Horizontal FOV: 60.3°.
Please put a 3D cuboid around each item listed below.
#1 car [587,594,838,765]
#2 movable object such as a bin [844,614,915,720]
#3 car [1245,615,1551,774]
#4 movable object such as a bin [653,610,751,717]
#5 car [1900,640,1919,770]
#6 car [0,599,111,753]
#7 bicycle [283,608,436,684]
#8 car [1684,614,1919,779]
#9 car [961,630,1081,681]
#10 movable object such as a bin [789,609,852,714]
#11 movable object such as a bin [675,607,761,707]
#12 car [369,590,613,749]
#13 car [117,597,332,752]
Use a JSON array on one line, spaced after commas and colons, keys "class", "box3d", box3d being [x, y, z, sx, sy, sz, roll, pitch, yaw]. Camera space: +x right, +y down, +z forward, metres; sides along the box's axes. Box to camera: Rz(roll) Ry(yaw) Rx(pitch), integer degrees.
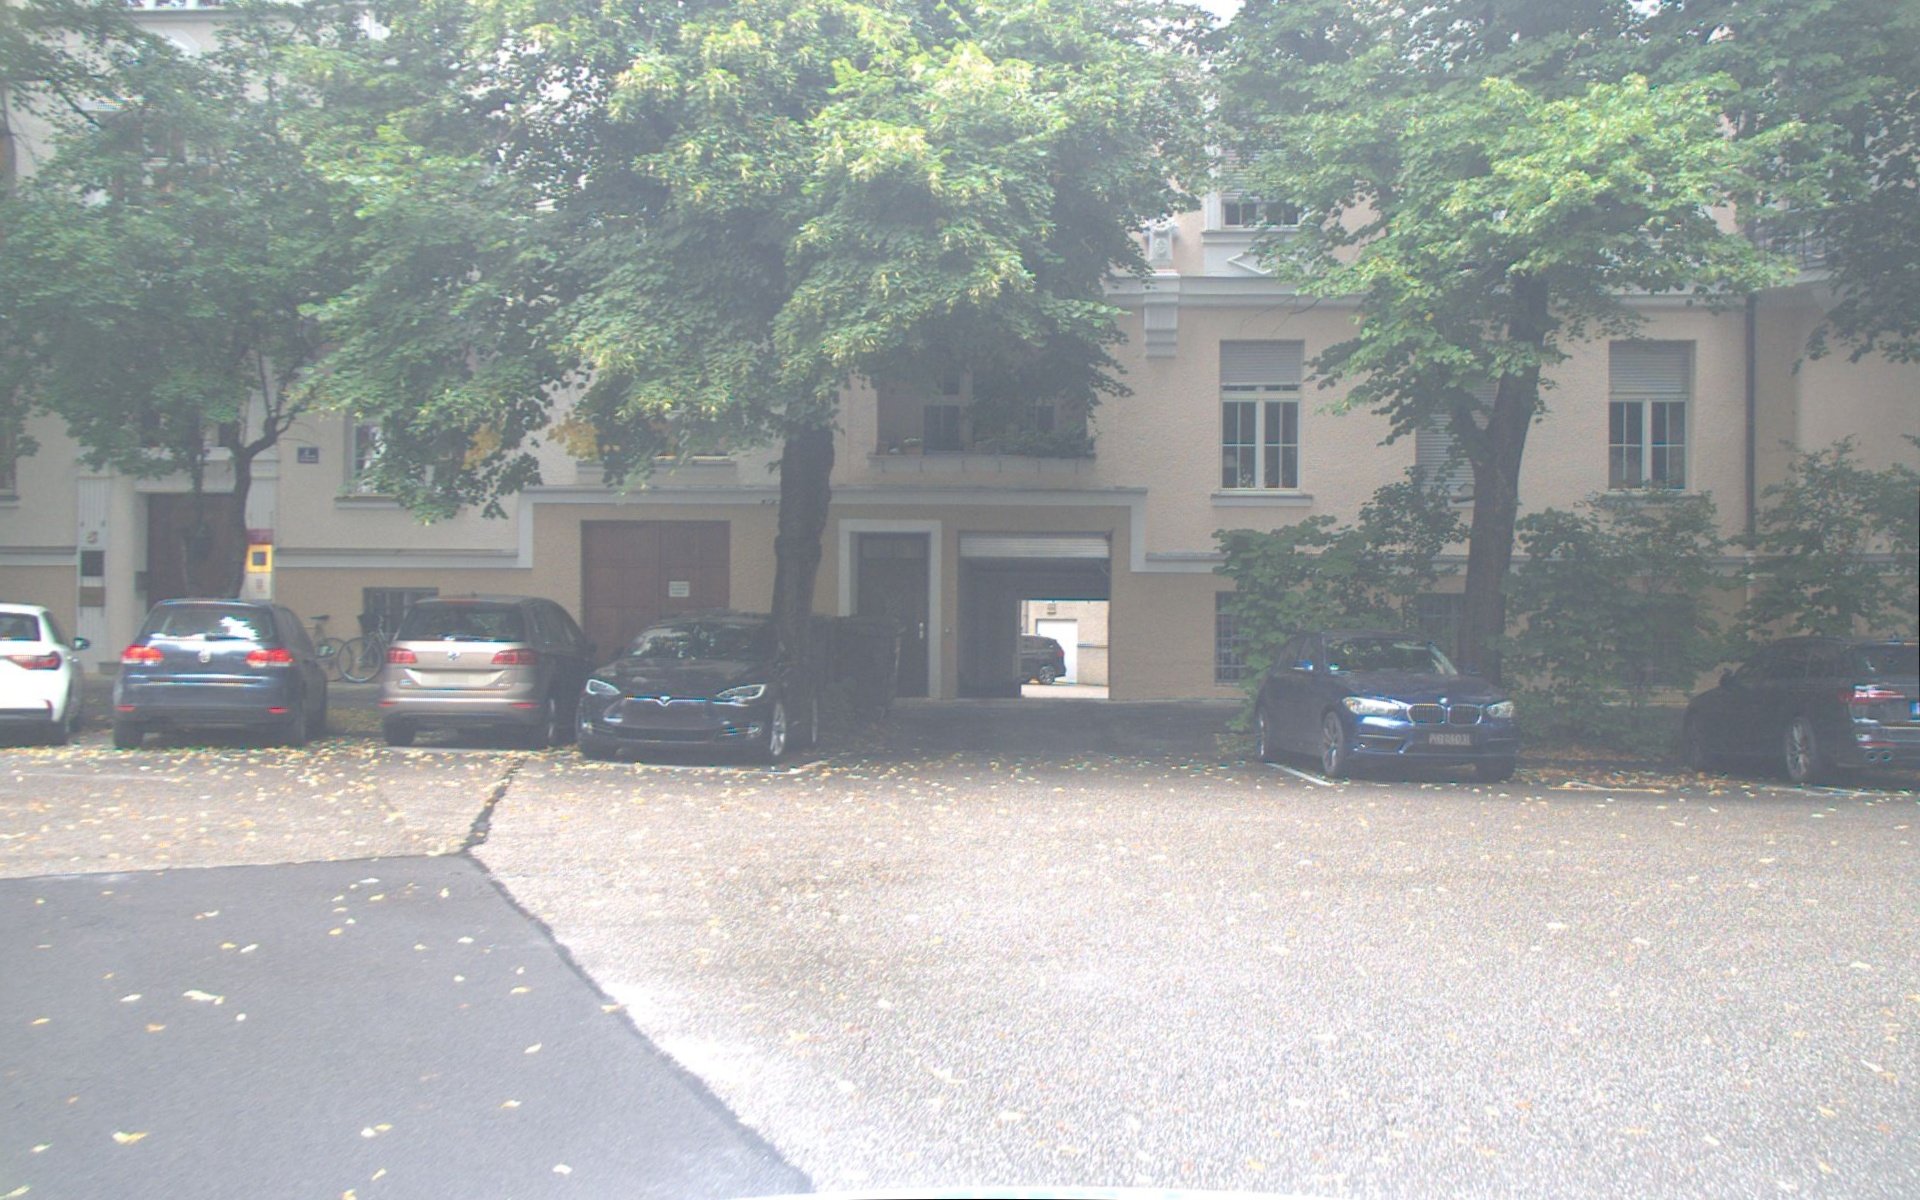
[{"class": "car", "box3d": [-2.408, 0.809, 17.153, 1.668, 1.493, 4.289, 2, -2, 3]}, {"class": "movable object such as a bin", "box3d": [-1.066, 0.878, 22.210, 0.845, 1.328, 1.432, 3, 0, -1]}, {"class": "car", "box3d": [4.265, 0.891, 16.854, 1.802, 1.407, 4.339, 0, -1, -3]}, {"class": "movable object such as a bin", "box3d": [-3.480, 0.838, 22.410, 1.126, 1.372, 1.156, 1, 0, -1]}, {"class": "car", "box3d": [11.578, 1.072, 17.021, 1.789, 1.451, 3.750, 0, -4, 3]}, {"class": "car", "box3d": [-10.143, 0.729, 17.613, 1.696, 1.456, 3.970, 1, 0, -24]}, {"class": "bicycle", "box3d": [-9.468, 0.721, 26.109, 2.182, 1.135, 0.577, 1, 0, 1]}, {"class": "car", "box3d": [8.980, 0.959, 16.668, 1.818, 1.450, 4.164, 0, -3, 5]}, {"class": "car", "box3d": [1.964, 1.812, 54.301, 3.769, 1.545, 1.655, 1, 0, -4]}, {"class": "movable object such as a bin", "box3d": [-1.890, 0.815, 22.593, 0.698, 1.371, 1.373, 1, 0, 1]}, {"class": "movable object such as a bin", "box3d": [-3.454, 0.802, 23.682, 1.095, 1.372, 0.864, 1, 0, -1]}, {"class": "car", "box3d": [-5.059, 0.706, 18.392, 1.802, 1.557, 4.021, 1, 0, -4]}, {"class": "car", "box3d": [-7.752, 0.711, 17.748, 1.765, 1.456, 3.977, 1, 0, -20]}]
